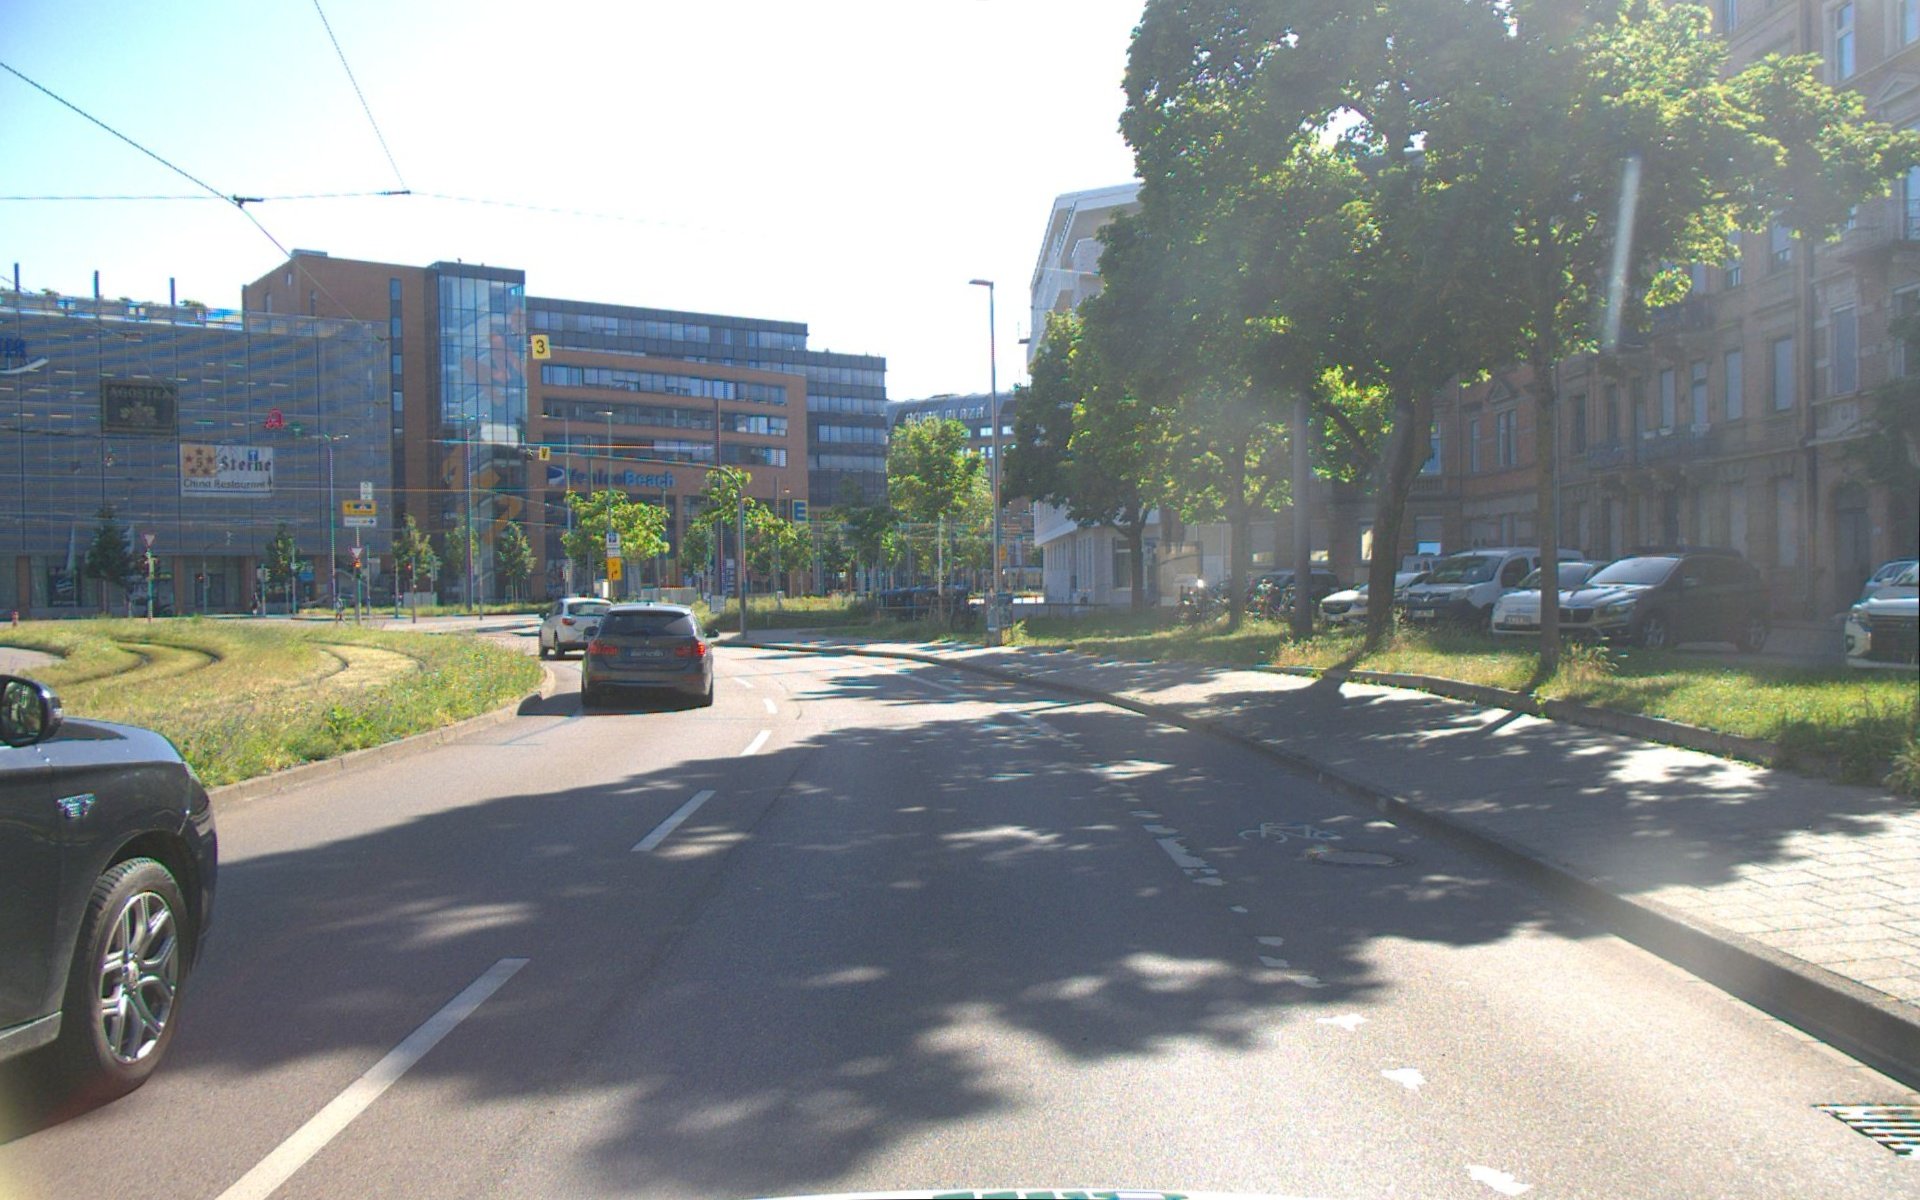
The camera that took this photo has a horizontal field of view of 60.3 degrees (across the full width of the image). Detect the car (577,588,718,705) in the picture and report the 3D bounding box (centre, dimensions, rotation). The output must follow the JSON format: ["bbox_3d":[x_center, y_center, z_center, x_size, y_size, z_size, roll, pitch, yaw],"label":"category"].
[{"bbox_3d":[-4.417,0.674,23.920,1.701,1.448,4.459,3,-2,-8],"label":"car"}]

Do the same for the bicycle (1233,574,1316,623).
[{"bbox_3d":[7.943,-0.031,41.837,1.905,1.201,0.899,-1,-1,-2],"label":"bicycle"}]

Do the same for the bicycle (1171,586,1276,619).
[{"bbox_3d":[9.755,0.095,61.676,2.623,1.146,5.215,1,0,-6],"label":"bicycle"}]

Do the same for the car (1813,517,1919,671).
[{"bbox_3d":[10.942,-0.098,17.455,3.984,1.504,1.791,-1,0,-35],"label":"car"}]

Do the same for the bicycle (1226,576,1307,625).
[{"bbox_3d":[7.918,0.013,42.810,1.918,1.213,0.841,-1,0,-2],"label":"bicycle"}]

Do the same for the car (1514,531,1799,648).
[{"bbox_3d":[11.275,-0.188,26.721,4.452,1.758,1.979,-1,0,-31],"label":"car"}]

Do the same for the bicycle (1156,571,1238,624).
[{"bbox_3d":[6.366,-0.053,44.457,2.053,1.389,0.786,1,-1,-7],"label":"bicycle"}]

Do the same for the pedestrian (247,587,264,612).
[{"bbox_3d":[-49.835,-0.048,117.011,0.741,1.768,0.850,0,-1,44],"label":"pedestrian"}]

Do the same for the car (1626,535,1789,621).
[{"bbox_3d":[18.912,-0.554,42.080,1.953,2.012,4.723,-1,1,-1],"label":"car"}]

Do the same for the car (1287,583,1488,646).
[{"bbox_3d":[10.010,0.332,38.587,4.697,1.404,2.021,1,0,-35],"label":"car"}]

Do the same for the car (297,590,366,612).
[{"bbox_3d":[-45.339,0.076,119.359,4.458,1.521,1.473,1,0,-40],"label":"car"}]

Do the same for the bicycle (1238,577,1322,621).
[{"bbox_3d":[8.772,-0.032,45.349,2.120,1.178,0.821,1,-1,-5],"label":"bicycle"}]

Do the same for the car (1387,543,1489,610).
[{"bbox_3d":[17.983,-0.871,62.463,2.301,2.398,5.187,-1,1,0],"label":"car"}]

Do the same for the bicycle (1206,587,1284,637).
[{"bbox_3d":[8.188,0.349,47.554,2.056,1.423,0.785,1,-1,-12],"label":"bicycle"}]

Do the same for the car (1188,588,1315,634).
[{"bbox_3d":[9.598,0.370,54.538,3.776,1.466,1.749,1,0,-21],"label":"car"}]

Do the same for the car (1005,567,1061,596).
[{"bbox_3d":[5.484,-1.385,123.906,3.902,2.049,2.001,0,-1,15],"label":"car"}]

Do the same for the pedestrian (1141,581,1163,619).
[{"bbox_3d":[8.086,-0.002,69.692,0.630,1.604,0.768,0,-1,36],"label":"pedestrian"}]

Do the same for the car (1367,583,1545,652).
[{"bbox_3d":[10.724,0.366,35.703,3.572,1.404,1.902,1,0,-35],"label":"car"}]

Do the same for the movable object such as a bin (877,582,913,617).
[{"bbox_3d":[-2.668,-0.031,67.856,1.046,1.423,1.304,0,0,19],"label":"movable object such as a bin"}]

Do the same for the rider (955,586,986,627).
[{"bbox_3d":[0.314,0.174,49.072,0.491,1.196,1.677,0,1,16],"label":"rider"}]

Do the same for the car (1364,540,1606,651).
[{"bbox_3d":[10.432,-0.112,32.752,4.824,2.048,2.075,-1,0,-35],"label":"car"}]

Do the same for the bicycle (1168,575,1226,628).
[{"bbox_3d":[6.051,0.024,42.143,0.755,1.312,1.590,-1,0,38],"label":"bicycle"}]

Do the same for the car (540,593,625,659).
[{"bbox_3d":[-9.309,0.650,40.637,1.607,1.448,3.761,3,-2,-19],"label":"car"}]

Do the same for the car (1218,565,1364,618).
[{"bbox_3d":[10.395,-0.246,51.881,4.414,1.593,1.916,1,0,-33],"label":"car"}]

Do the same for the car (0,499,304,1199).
[{"bbox_3d":[-3.209,0.587,3.448,1.798,1.711,4.642,1,-1,0],"label":"car"}]

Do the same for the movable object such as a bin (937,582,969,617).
[{"bbox_3d":[-0.279,-0.009,67.842,1.007,1.423,1.091,0,0,19],"label":"movable object such as a bin"}]

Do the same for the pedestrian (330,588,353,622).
[{"bbox_3d":[-31.183,0.256,83.417,0.880,1.737,0.702,1,-1,-40],"label":"pedestrian"}]

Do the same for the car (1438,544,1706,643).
[{"bbox_3d":[11.314,-0.132,30.488,4.815,1.676,2.079,-1,0,-31],"label":"car"}]

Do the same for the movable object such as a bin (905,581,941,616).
[{"bbox_3d":[-1.527,-0.049,67.843,1.084,1.423,1.321,0,0,19],"label":"movable object such as a bin"}]

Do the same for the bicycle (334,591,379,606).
[{"bbox_3d":[-49.543,-0.108,135.828,3.330,1.096,1.104,2,0,-34],"label":"bicycle"}]
